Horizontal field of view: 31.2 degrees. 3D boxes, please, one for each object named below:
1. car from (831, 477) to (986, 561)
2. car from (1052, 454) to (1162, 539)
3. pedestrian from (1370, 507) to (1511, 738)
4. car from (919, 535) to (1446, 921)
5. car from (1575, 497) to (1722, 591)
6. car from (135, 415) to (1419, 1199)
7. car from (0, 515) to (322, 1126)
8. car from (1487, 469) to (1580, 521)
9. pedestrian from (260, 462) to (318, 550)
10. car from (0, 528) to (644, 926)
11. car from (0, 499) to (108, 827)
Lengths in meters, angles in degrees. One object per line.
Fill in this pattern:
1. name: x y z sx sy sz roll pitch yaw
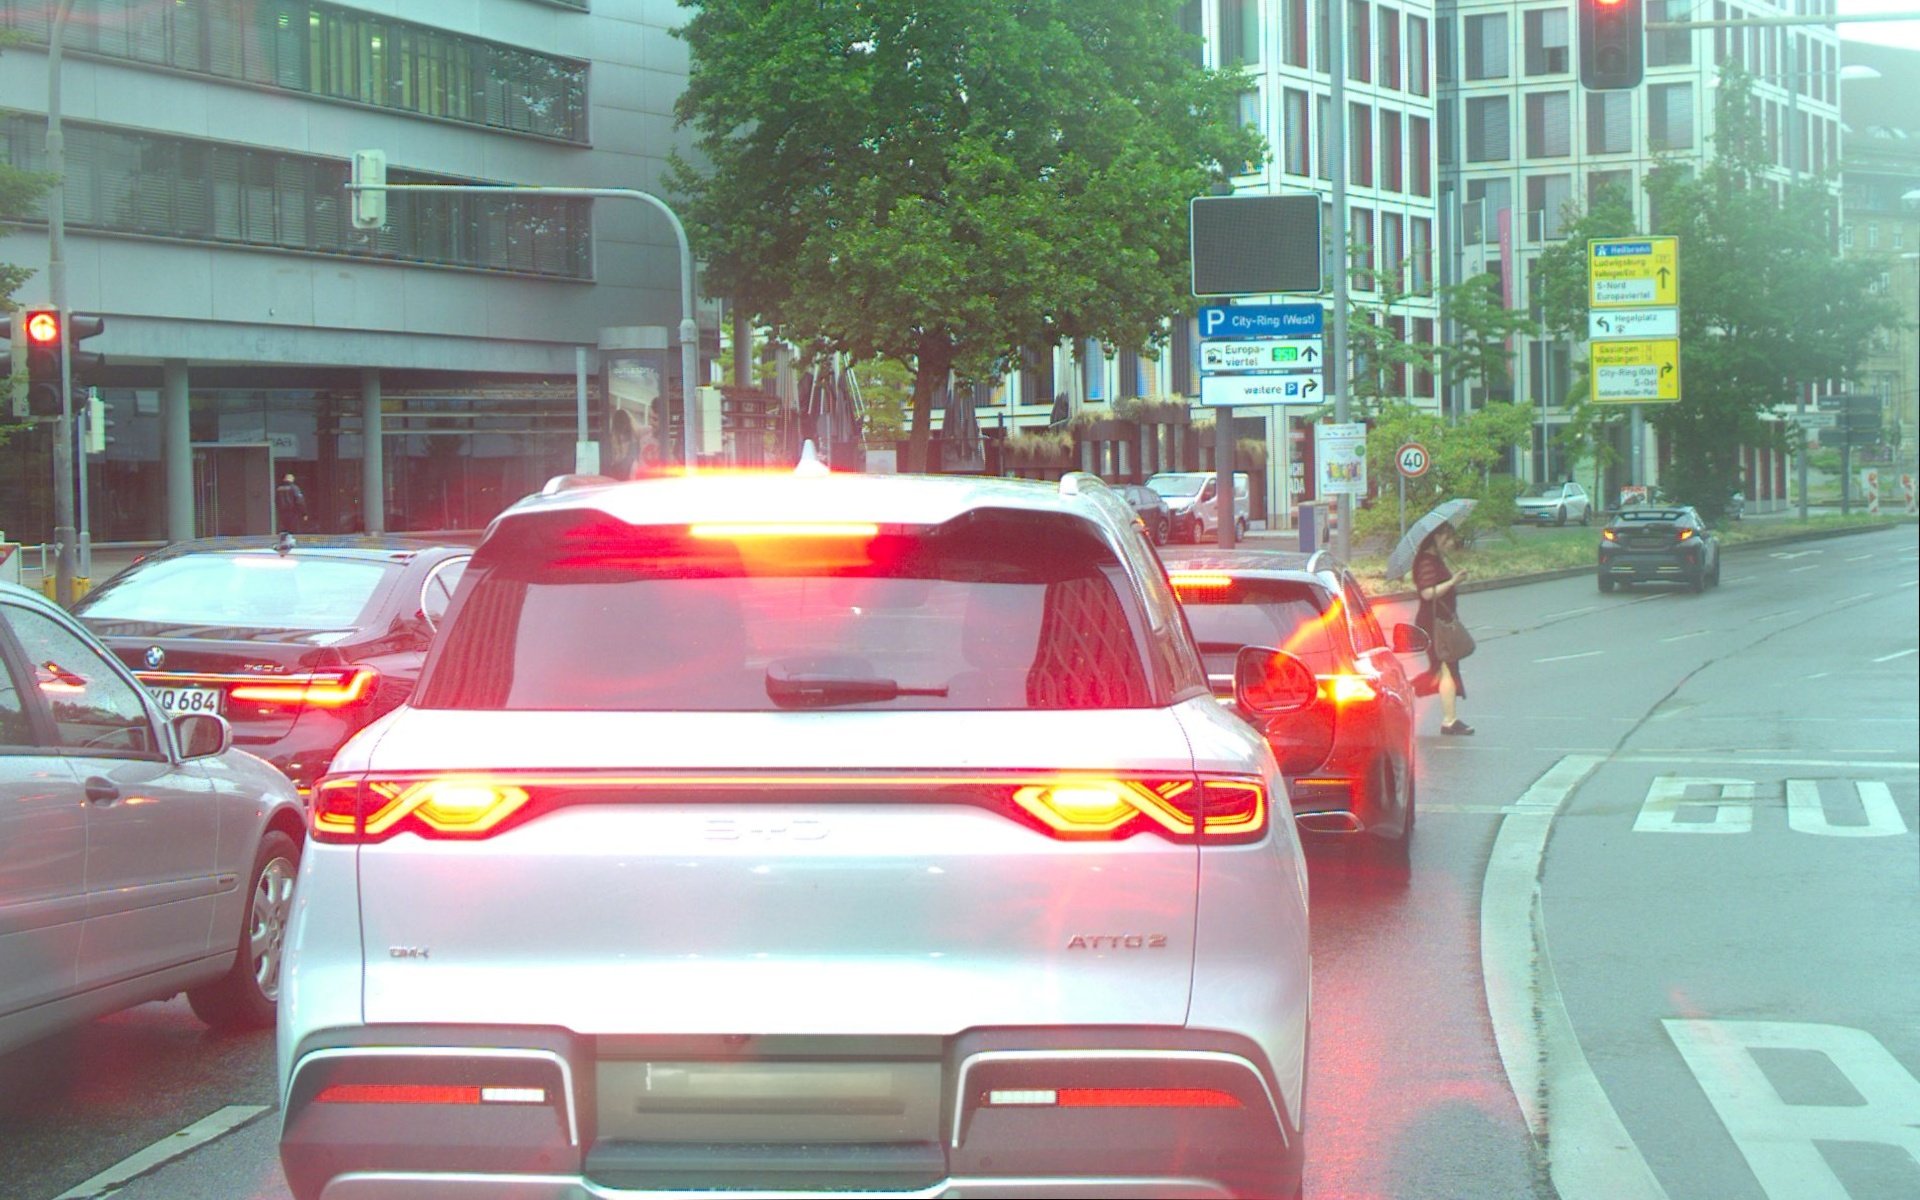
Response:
1. car: -1.081 -1.791 74.593 1.996 1.700 3.996 1 3 22
2. car: 3.894 -2.692 90.426 1.739 2.154 4.490 1 1 18
3. pedestrian: 3.656 0.160 26.198 0.921 1.732 0.730 0 1 -5
4. car: 1.164 0.471 15.900 1.956 1.525 3.998 0 1 11
5. car: 12.124 -1.002 60.385 1.995 1.546 3.996 2 2 19
6. car: -0.194 0.507 7.579 1.994 1.703 4.482 0 2 2
7. car: -3.110 0.526 8.948 1.682 1.481 4.196 0 1 7
8. car: 19.954 -3.654 119.531 1.996 1.700 4.303 1 3 27
9. pedestrian: -13.182 -1.841 67.531 0.728 1.721 0.924 0 1 21
10. car: -2.909 0.446 15.400 1.956 1.525 3.998 0 1 11
11. car: -5.733 0.315 16.032 1.886 1.590 3.998 0 1 12
